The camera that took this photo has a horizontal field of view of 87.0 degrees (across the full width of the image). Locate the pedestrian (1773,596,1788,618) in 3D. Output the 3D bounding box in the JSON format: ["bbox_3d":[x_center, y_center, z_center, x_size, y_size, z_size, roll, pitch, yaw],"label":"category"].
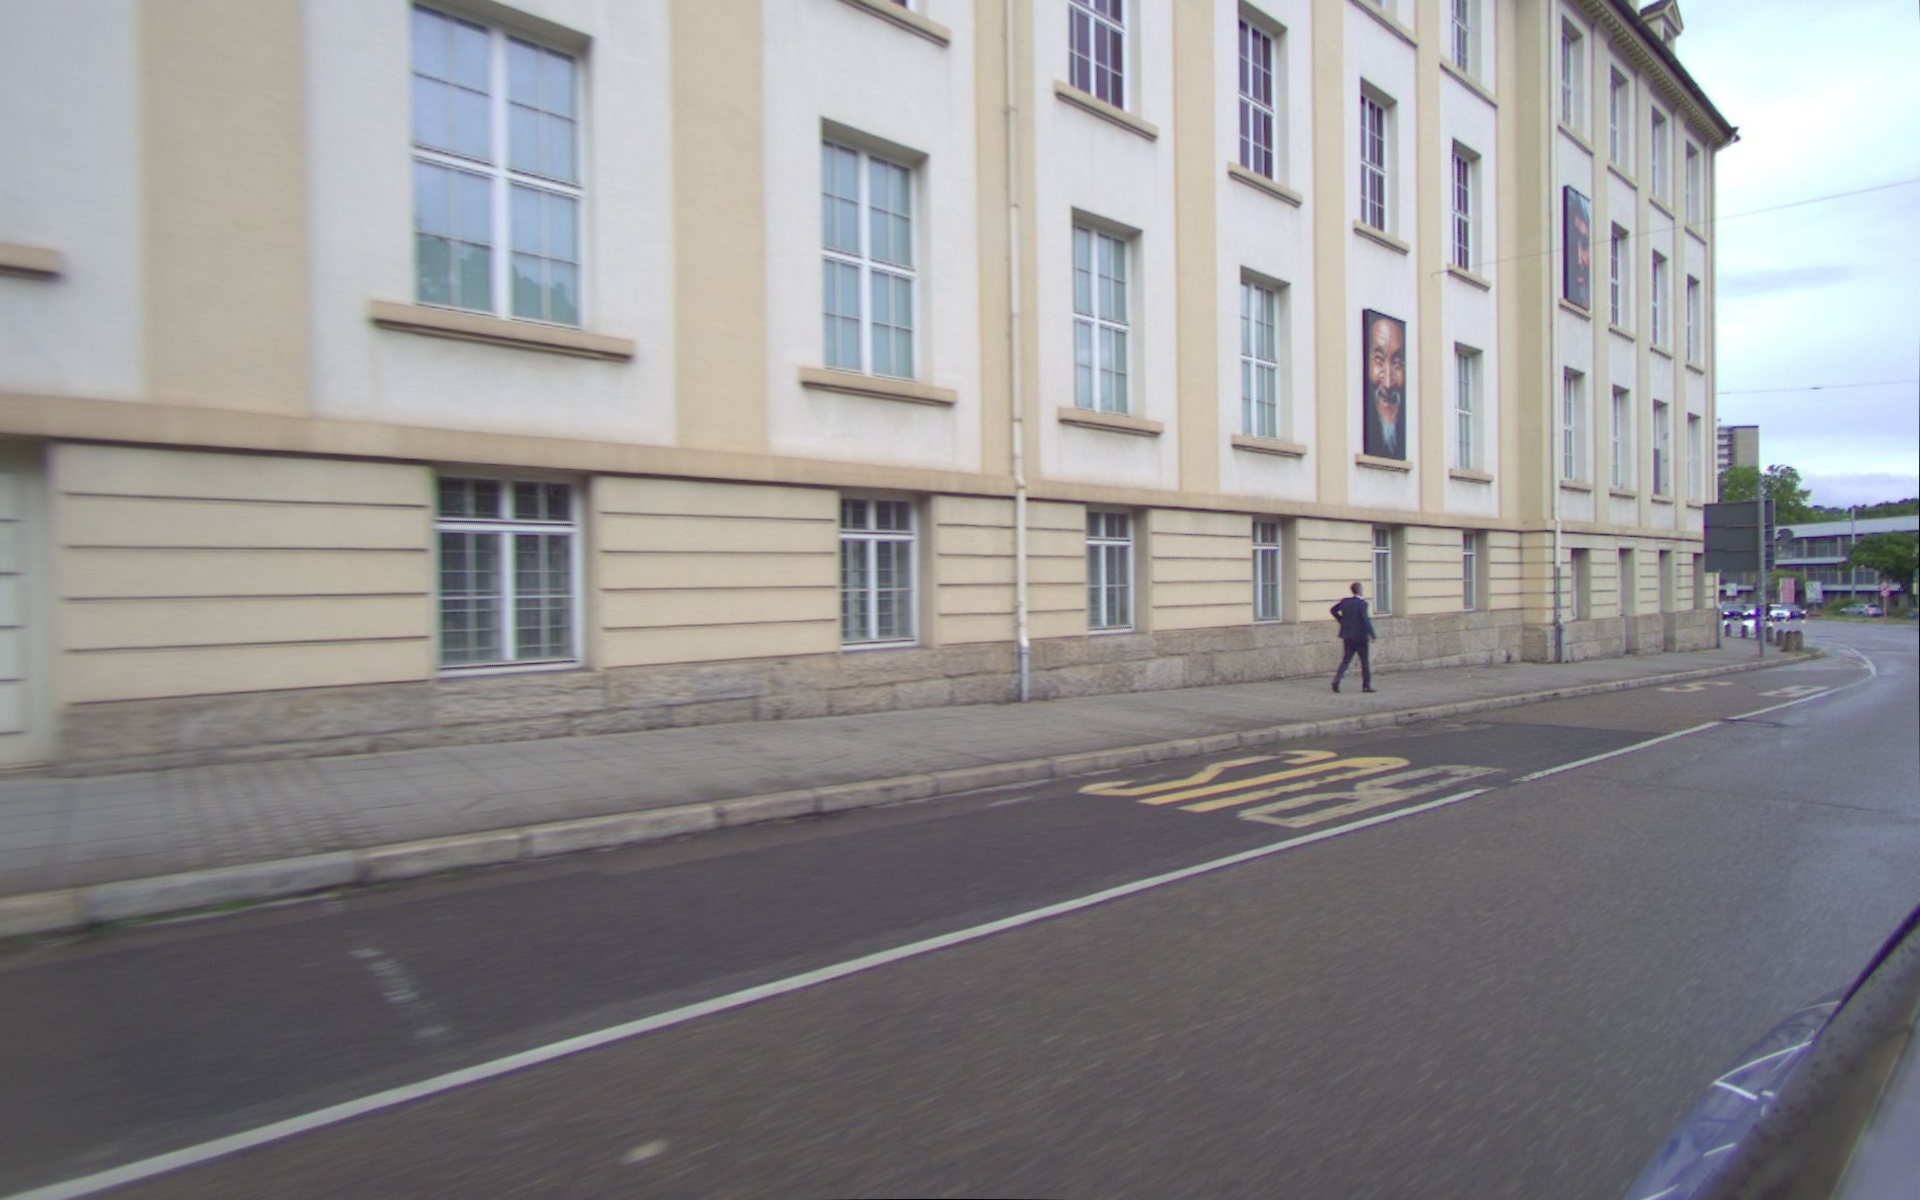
[{"bbox_3d":[68.975,0.589,85.110,0.900,1.819,0.533,-2,-1,44],"label":"pedestrian"}]

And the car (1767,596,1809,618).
[{"bbox_3d":[74.739,0.599,91.436,2.058,1.935,4.518,1,1,28],"label":"car"}]

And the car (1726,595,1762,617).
[{"bbox_3d":[72.325,0.538,93.450,1.867,1.892,4.305,1,0,28],"label":"car"}]

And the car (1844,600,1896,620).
[{"bbox_3d":[93.757,1.004,104.368,2.045,1.935,4.332,1,0,12],"label":"car"}]

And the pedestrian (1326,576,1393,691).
[{"bbox_3d":[6.522,0.518,16.520,0.836,1.820,0.671,0,1,-39],"label":"pedestrian"}]

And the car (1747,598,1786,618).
[{"bbox_3d":[77.266,0.740,97.045,2.058,1.850,4.518,1,1,28],"label":"car"}]
